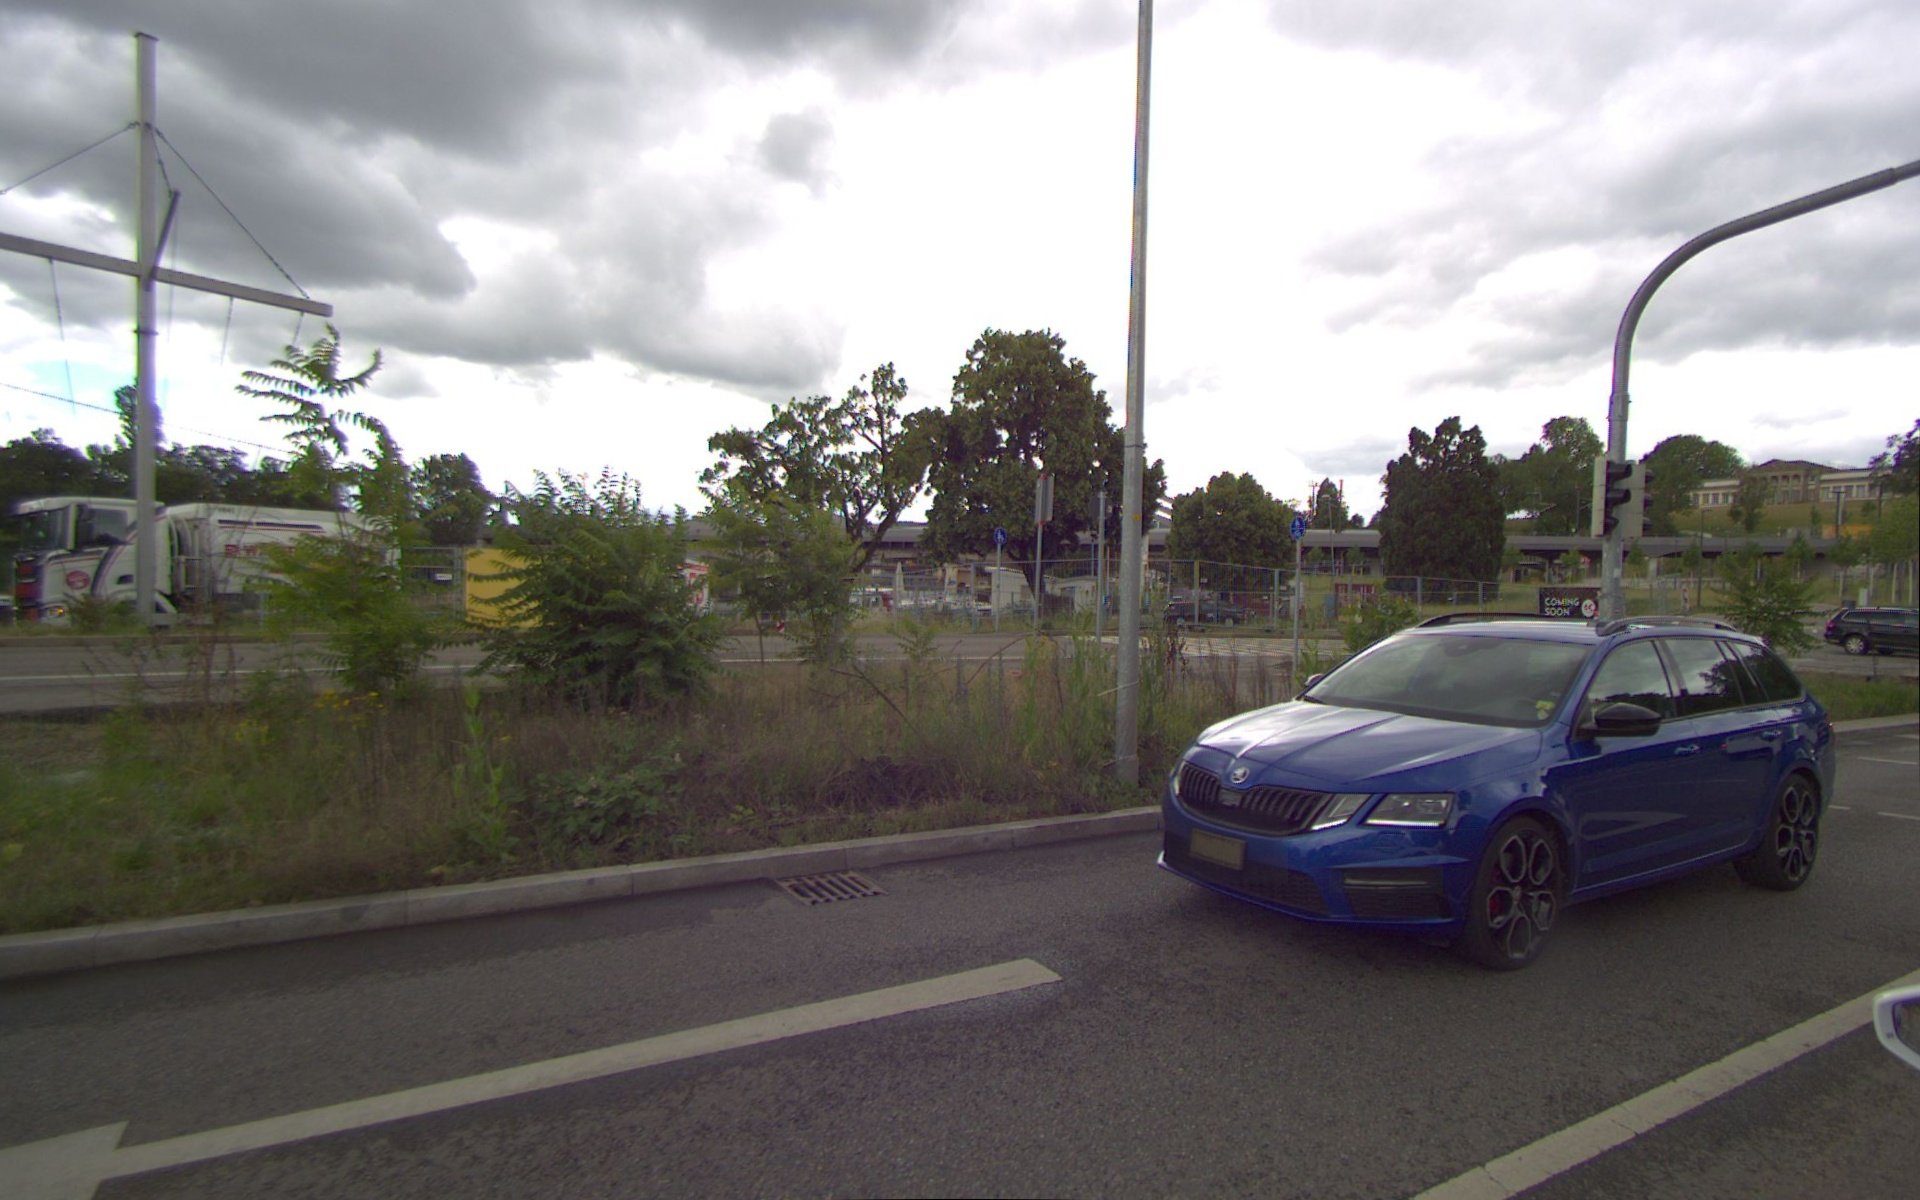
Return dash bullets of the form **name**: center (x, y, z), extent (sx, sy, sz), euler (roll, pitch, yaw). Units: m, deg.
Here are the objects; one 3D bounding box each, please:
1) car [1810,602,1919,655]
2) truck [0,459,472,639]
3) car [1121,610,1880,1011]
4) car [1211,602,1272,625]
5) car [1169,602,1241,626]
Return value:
- **car**: center (29.034, 0.872, 30.397), extent (1.969, 1.497, 4.703), euler (0, 1, -20)
- **truck**: center (-16.110, -1.020, 23.288), extent (2.753, 3.381, 8.457), euler (0, 1, 32)
- **car**: center (3.146, 0.823, 5.565), extent (4.394, 1.440, 1.721), euler (1, 0, -31)
- **car**: center (17.286, 0.826, 61.863), extent (3.436, 1.309, 1.603), euler (1, 1, 9)
- **car**: center (13.975, 0.787, 57.433), extent (3.842, 1.309, 1.805), euler (1, 1, 8)
